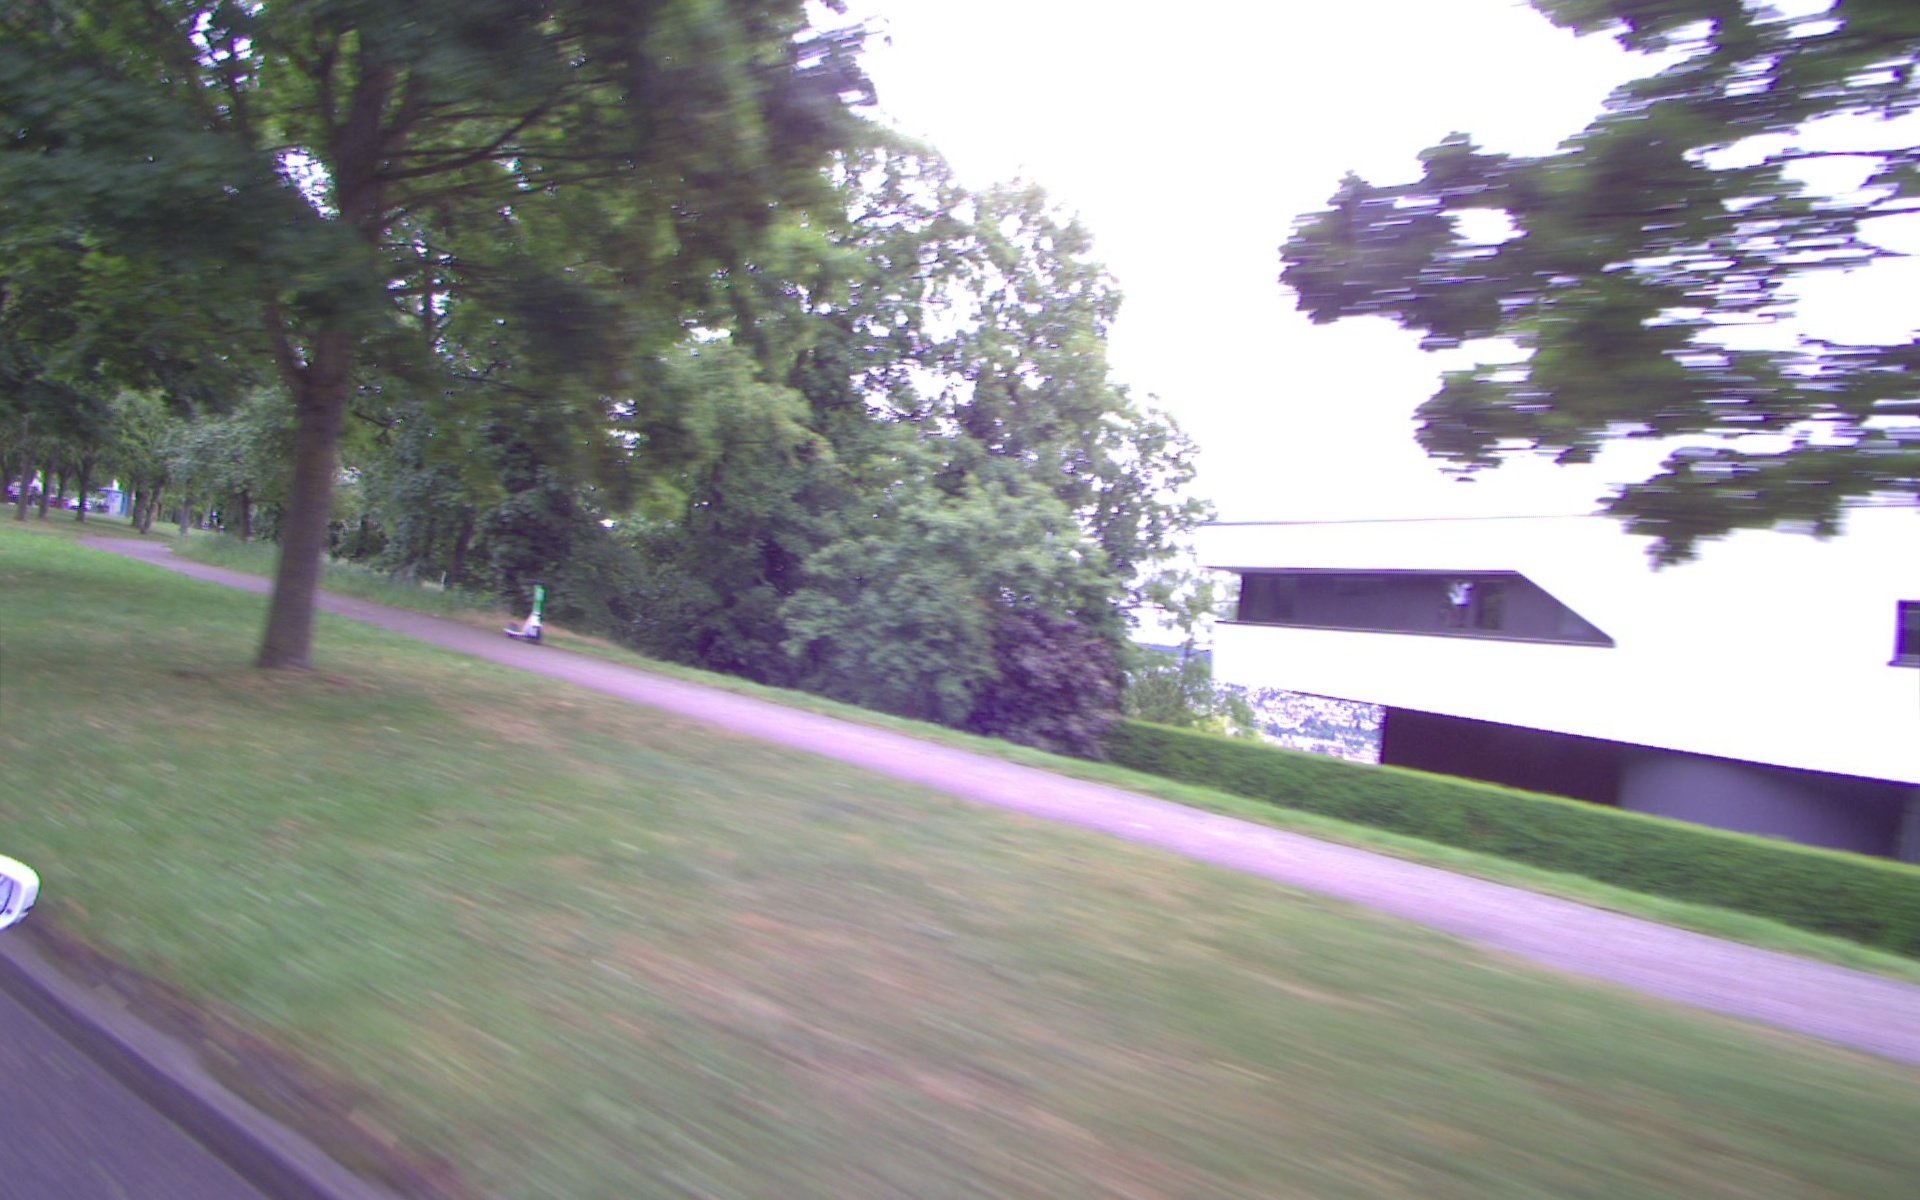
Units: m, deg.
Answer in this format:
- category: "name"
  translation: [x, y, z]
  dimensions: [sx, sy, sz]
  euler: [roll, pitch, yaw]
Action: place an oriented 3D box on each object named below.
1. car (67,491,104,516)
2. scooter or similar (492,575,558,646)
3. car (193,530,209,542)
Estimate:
- category: "car"
  translation: [-85.137, -9.407, 97.983]
  dimensions: [1.985, 1.823, 3.965]
  euler: [11, -5, -34]
- category: "scooter or similar"
  translation: [-8.150, 0.185, 18.826]
  dimensions: [1.281, 1.160, 0.463]
  euler: [7, 0, 38]
- category: "car"
  translation: [-112.744, -9.504, 149.418]
  dimensions: [1.418, 1.586, 3.391]
  euler: [12, -5, -41]
